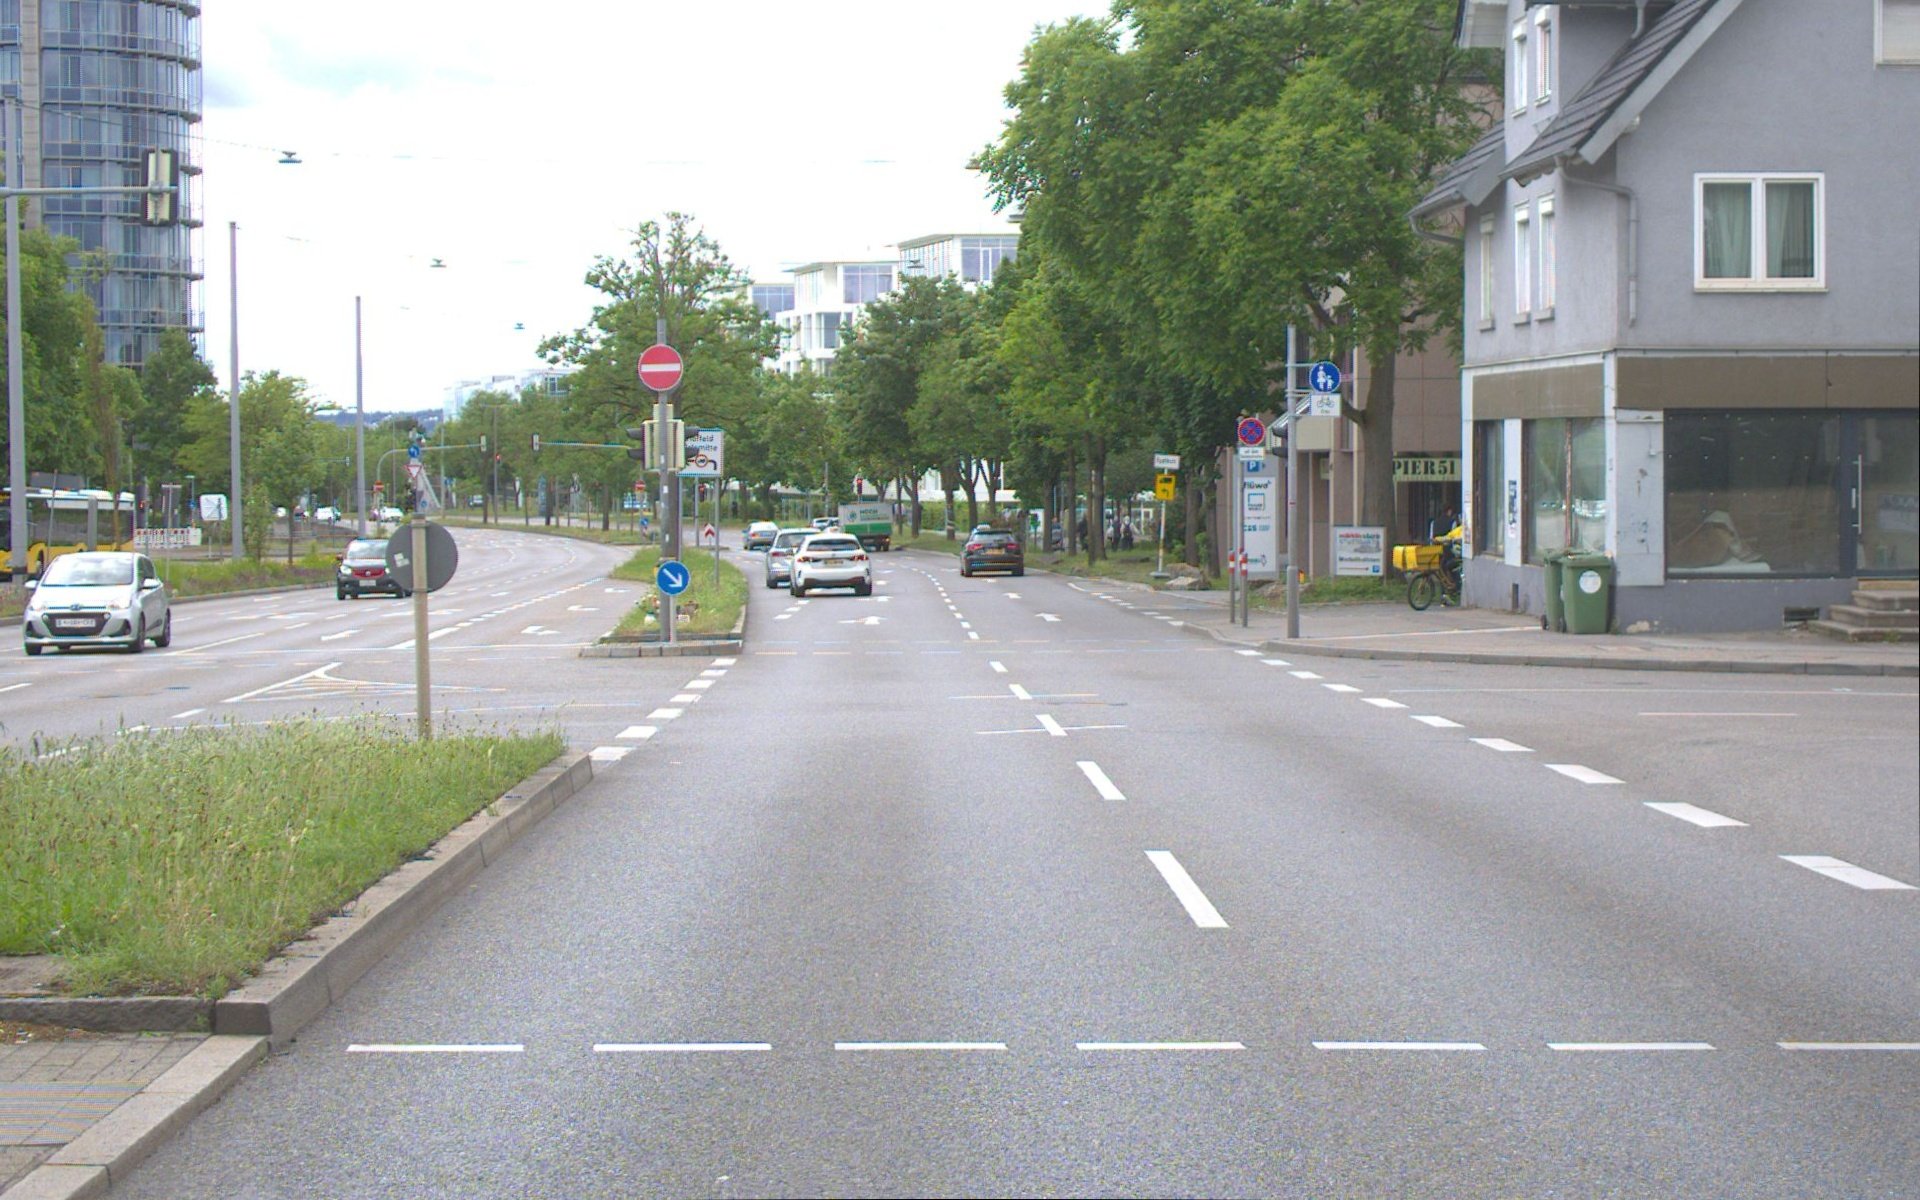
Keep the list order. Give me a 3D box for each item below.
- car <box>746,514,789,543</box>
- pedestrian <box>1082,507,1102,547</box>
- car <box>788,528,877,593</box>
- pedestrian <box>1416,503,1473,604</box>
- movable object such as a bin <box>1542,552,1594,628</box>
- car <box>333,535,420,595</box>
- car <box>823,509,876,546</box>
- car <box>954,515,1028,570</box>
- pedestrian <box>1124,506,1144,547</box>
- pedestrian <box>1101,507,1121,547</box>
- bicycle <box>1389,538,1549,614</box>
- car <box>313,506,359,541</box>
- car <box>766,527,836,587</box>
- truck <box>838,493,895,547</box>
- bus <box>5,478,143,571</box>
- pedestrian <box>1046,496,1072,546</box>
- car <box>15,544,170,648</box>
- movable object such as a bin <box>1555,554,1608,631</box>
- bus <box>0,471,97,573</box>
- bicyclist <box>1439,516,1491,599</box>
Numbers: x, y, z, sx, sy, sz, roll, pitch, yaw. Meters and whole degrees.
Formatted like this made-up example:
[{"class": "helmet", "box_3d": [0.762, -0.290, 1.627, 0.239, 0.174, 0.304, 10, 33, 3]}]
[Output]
[{"class": "car", "box_3d": [-9.699, -3.584, 173.146, 1.967, 1.415, 4.023, -1, 1, -5]}, {"class": "pedestrian", "box_3d": [5.180, -2.846, 134.522, 0.650, 1.564, 0.671, -1, 1, -8]}, {"class": "car", "box_3d": [-2.991, -0.946, 81.314, 1.993, 1.472, 4.256, -1, 1, -1]}, {"class": "pedestrian", "box_3d": [8.548, -0.822, 60.668, 0.706, 1.773, 0.869, 0, 1, 30]}, {"class": "movable object such as a bin", "box_3d": [7.928, -0.132, 44.833, 0.529, 0.976, 0.736, -1, 1, -1]}, {"class": "car", "box_3d": [-15.060, -0.923, 88.818, 1.702, 1.487, 3.562, -1, 1, -1]}, {"class": "car", "box_3d": [-5.318, -3.466, 165.060, 2.251, 1.751, 4.934, -1, 1, -5]}, {"class": "car", "box_3d": [0.893, -1.672, 101.497, 1.889, 1.489, 4.099, -2, 0, -3]}, {"class": "pedestrian", "box_3d": [6.792, -2.870, 134.323, 0.650, 1.564, 0.671, -1, 1, -8]}, {"class": "pedestrian", "box_3d": [5.925, -2.862, 134.518, 0.650, 1.564, 0.671, -1, 1, -8]}, {"class": "bicycle", "box_3d": [8.396, -0.409, 56.776, 2.431, 1.213, 1.078, -1, 1, -2]}, {"class": "car", "box_3d": [-36.343, -4.449, 200.254, 1.965, 2.007, 4.000, 1, 1, -1]}, {"class": "car", "box_3d": [-4.292, -1.152, 92.426, 1.822, 1.535, 4.115, -1, 1, -3]}, {"class": "truck", "box_3d": [-4.272, -3.634, 156.462, 2.251, 2.408, 4.934, 0, 1, -5]}, {"class": "bus", "box_3d": [-31.741, -2.701, 123.461, 3.144, 3.214, 7.766, -1, 1, -2]}, {"class": "pedestrian", "box_3d": [4.009, -3.219, 139.566, 0.971, 2.007, 0.981, 1, 0, -1]}, {"class": "car", "box_3d": [-12.808, -0.087, 50.918, 1.684, 1.457, 3.556, -1, 1, -5]}, {"class": "movable object such as a bin", "box_3d": [7.957, -0.100, 44.043, 0.529, 0.976, 0.736, -1, 1, -1]}, {"class": "bus", "box_3d": [-31.402, -2.560, 114.458, 3.144, 3.214, 10.286, -1, 1, -3]}, {"class": "bicyclist", "box_3d": [8.334, -0.704, 56.764, 0.626, 1.352, 1.078, -1, 1, -3]}]
